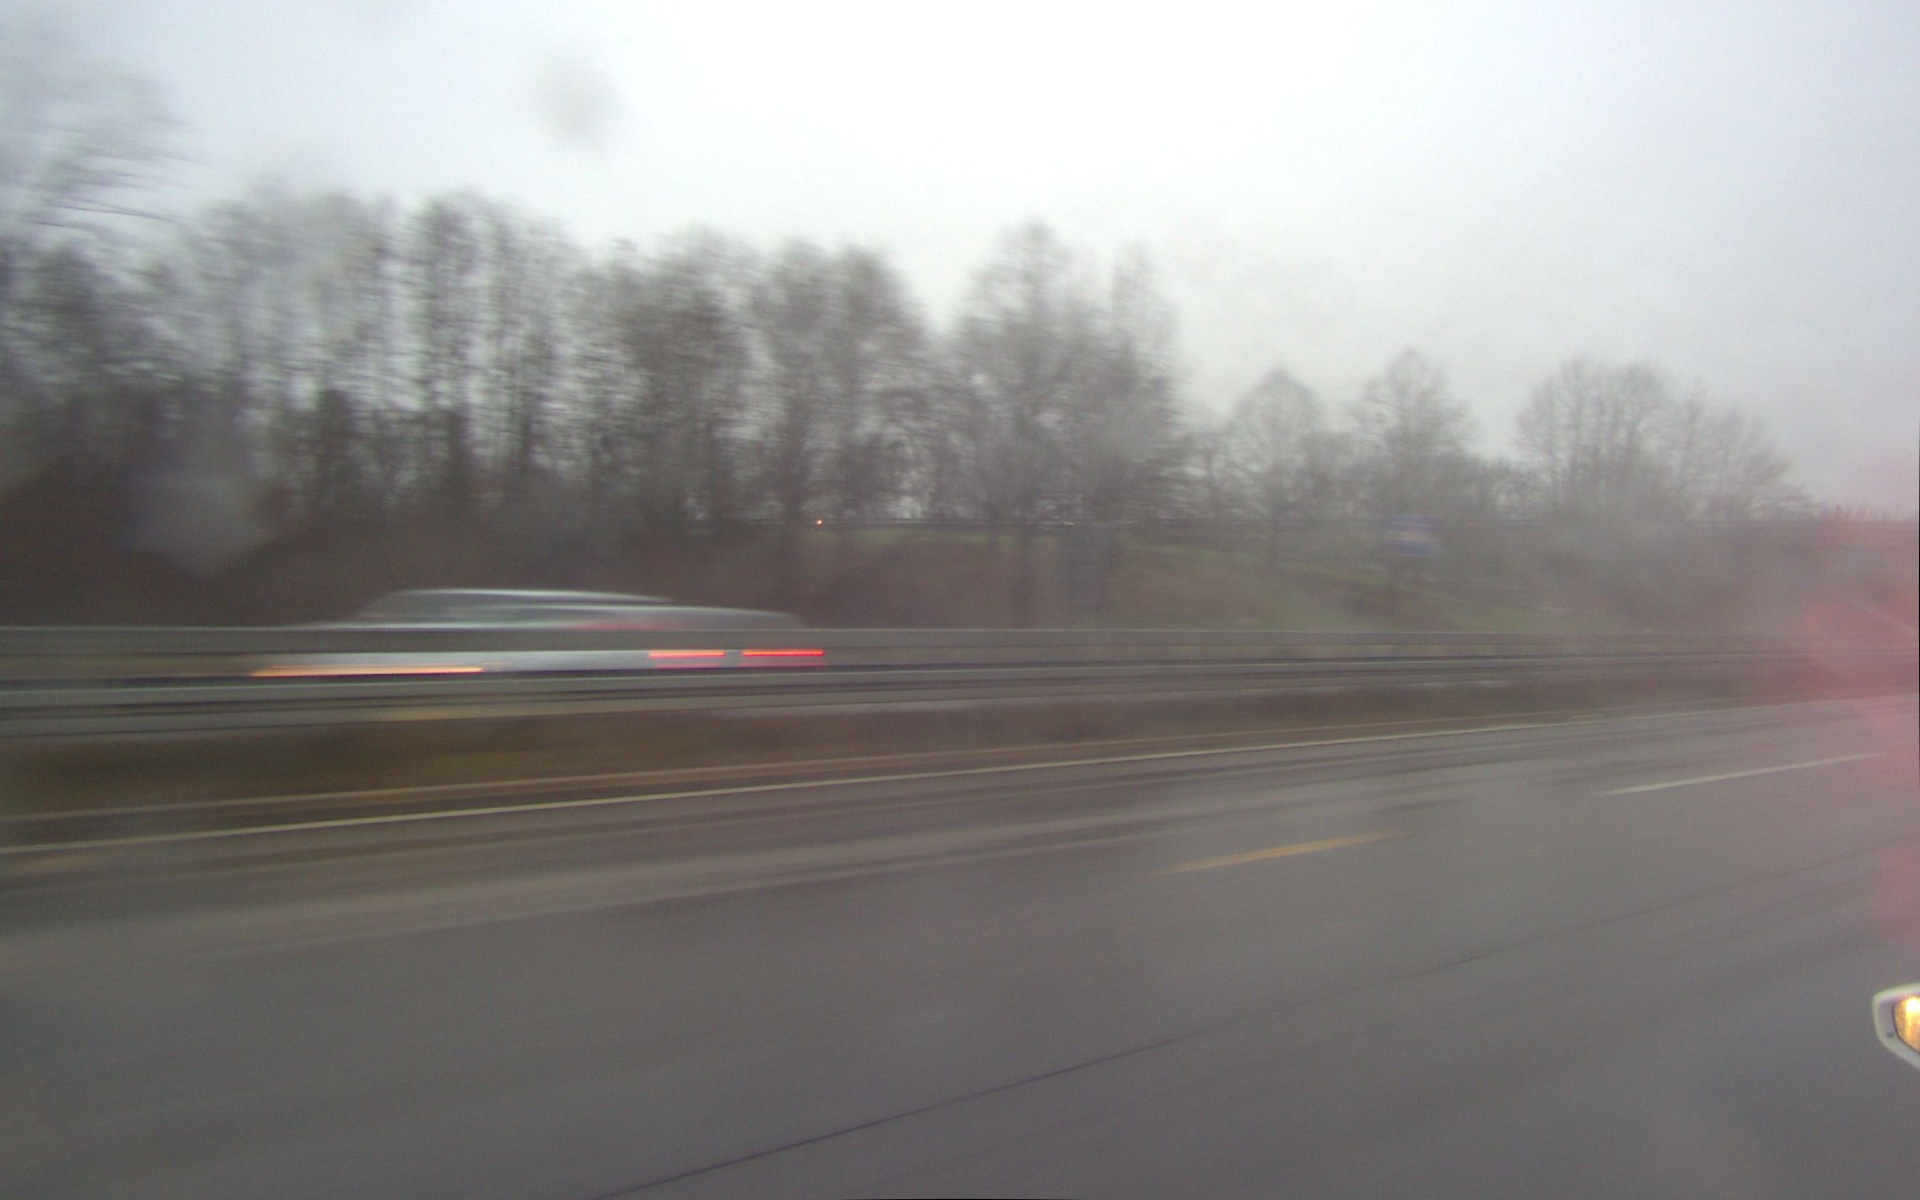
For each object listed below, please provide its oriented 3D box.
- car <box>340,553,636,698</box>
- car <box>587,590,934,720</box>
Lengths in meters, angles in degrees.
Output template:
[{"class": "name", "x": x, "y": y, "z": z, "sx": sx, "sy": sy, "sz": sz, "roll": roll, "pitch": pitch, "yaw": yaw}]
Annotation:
[{"class": "car", "x": -7.410, "y": 0.428, "z": 15.944, "sx": 3.952, "sy": 2.040, "sz": 1.984, "roll": 3, "pitch": 0, "yaw": -29}, {"class": "car", "x": -2.662, "y": 0.736, "z": 13.718, "sx": 4.322, "sy": 1.539, "sz": 1.675, "roll": 2, "pitch": -1, "yaw": -30}]
